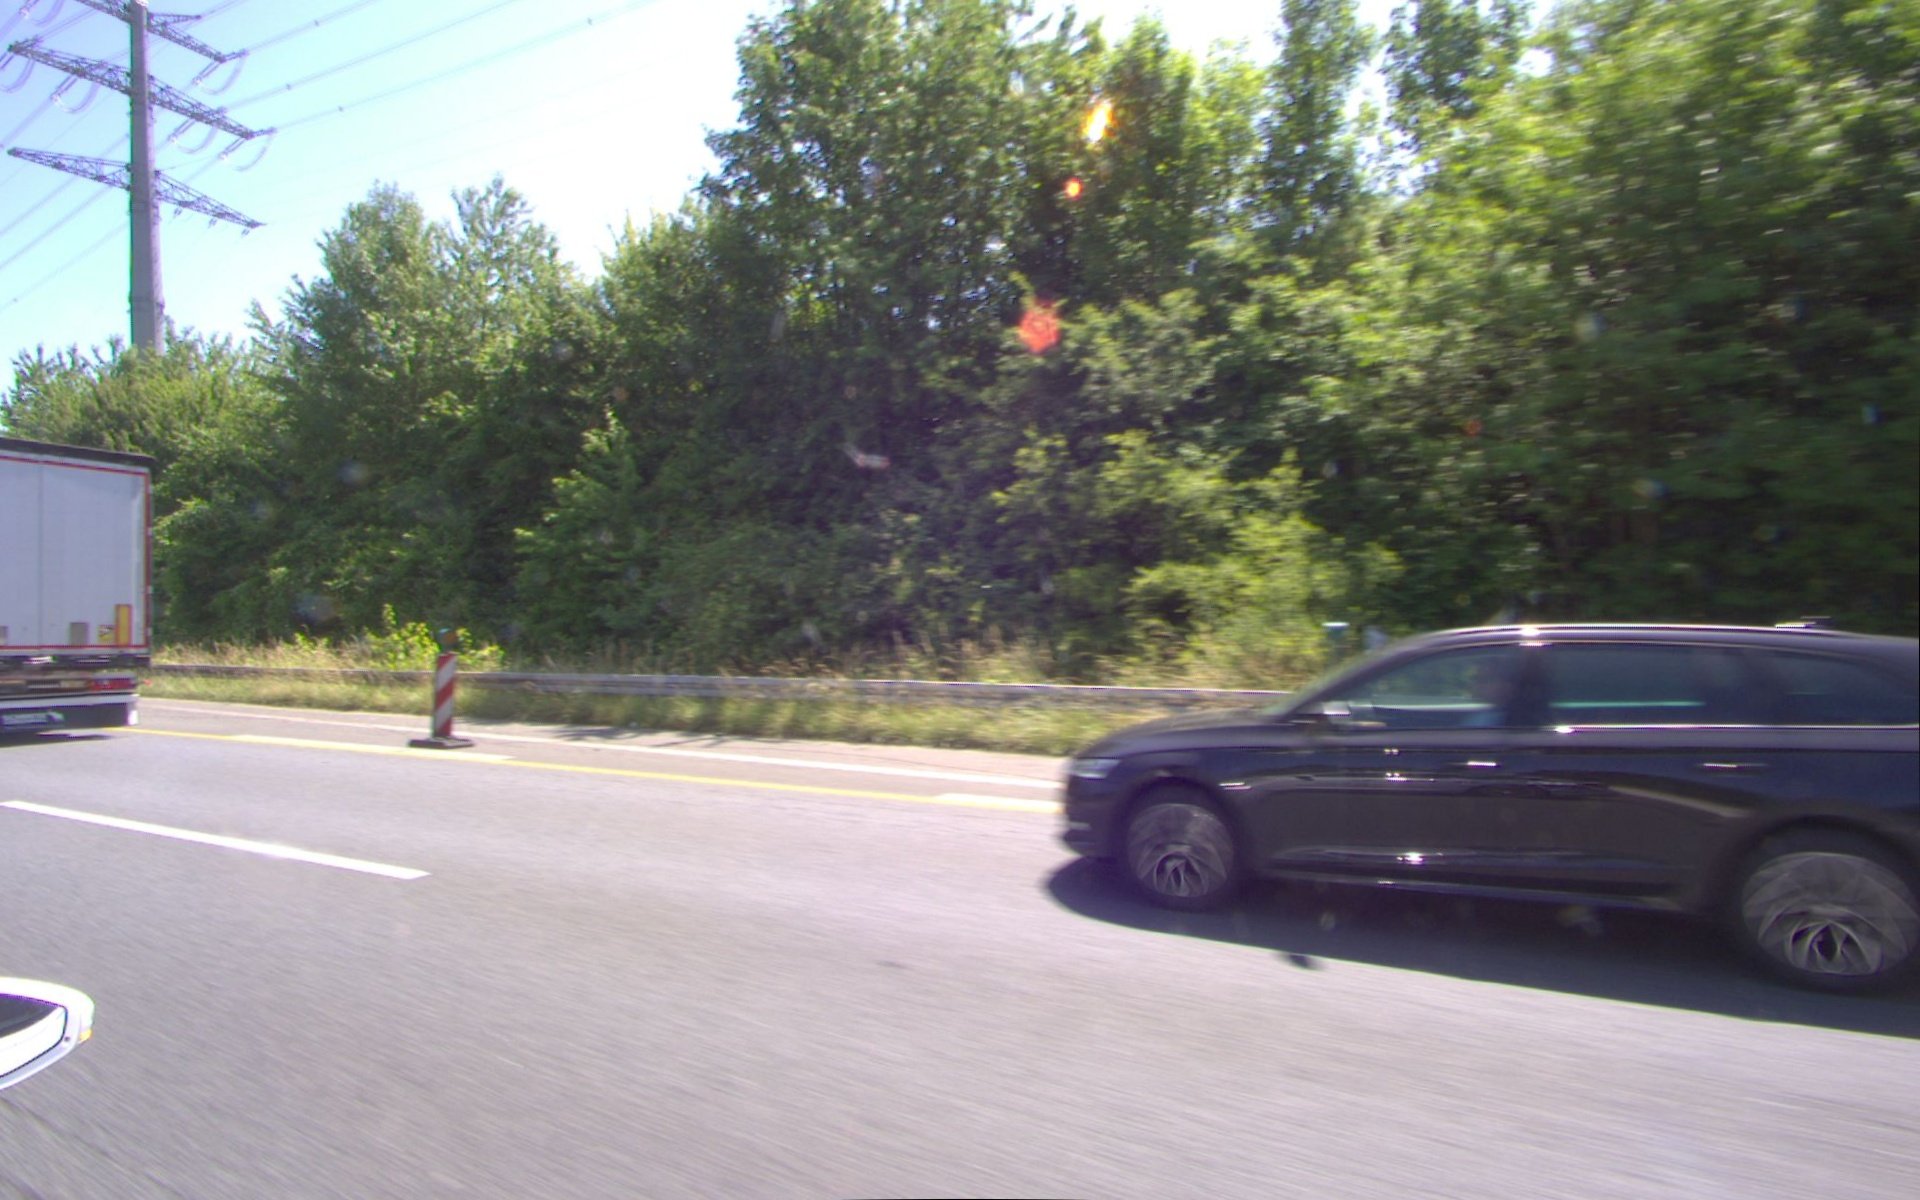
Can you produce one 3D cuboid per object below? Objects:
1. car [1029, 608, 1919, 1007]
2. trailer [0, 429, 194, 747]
[{"bbox_3d":[2.728,0.840,5.288,4.395,1.508,1.778,-1,-2,28],"label":"car"},{"bbox_3d":[-17.043,-0.065,16.171,11.310,4.095,3.063,-1,-1,28],"label":"trailer"}]
